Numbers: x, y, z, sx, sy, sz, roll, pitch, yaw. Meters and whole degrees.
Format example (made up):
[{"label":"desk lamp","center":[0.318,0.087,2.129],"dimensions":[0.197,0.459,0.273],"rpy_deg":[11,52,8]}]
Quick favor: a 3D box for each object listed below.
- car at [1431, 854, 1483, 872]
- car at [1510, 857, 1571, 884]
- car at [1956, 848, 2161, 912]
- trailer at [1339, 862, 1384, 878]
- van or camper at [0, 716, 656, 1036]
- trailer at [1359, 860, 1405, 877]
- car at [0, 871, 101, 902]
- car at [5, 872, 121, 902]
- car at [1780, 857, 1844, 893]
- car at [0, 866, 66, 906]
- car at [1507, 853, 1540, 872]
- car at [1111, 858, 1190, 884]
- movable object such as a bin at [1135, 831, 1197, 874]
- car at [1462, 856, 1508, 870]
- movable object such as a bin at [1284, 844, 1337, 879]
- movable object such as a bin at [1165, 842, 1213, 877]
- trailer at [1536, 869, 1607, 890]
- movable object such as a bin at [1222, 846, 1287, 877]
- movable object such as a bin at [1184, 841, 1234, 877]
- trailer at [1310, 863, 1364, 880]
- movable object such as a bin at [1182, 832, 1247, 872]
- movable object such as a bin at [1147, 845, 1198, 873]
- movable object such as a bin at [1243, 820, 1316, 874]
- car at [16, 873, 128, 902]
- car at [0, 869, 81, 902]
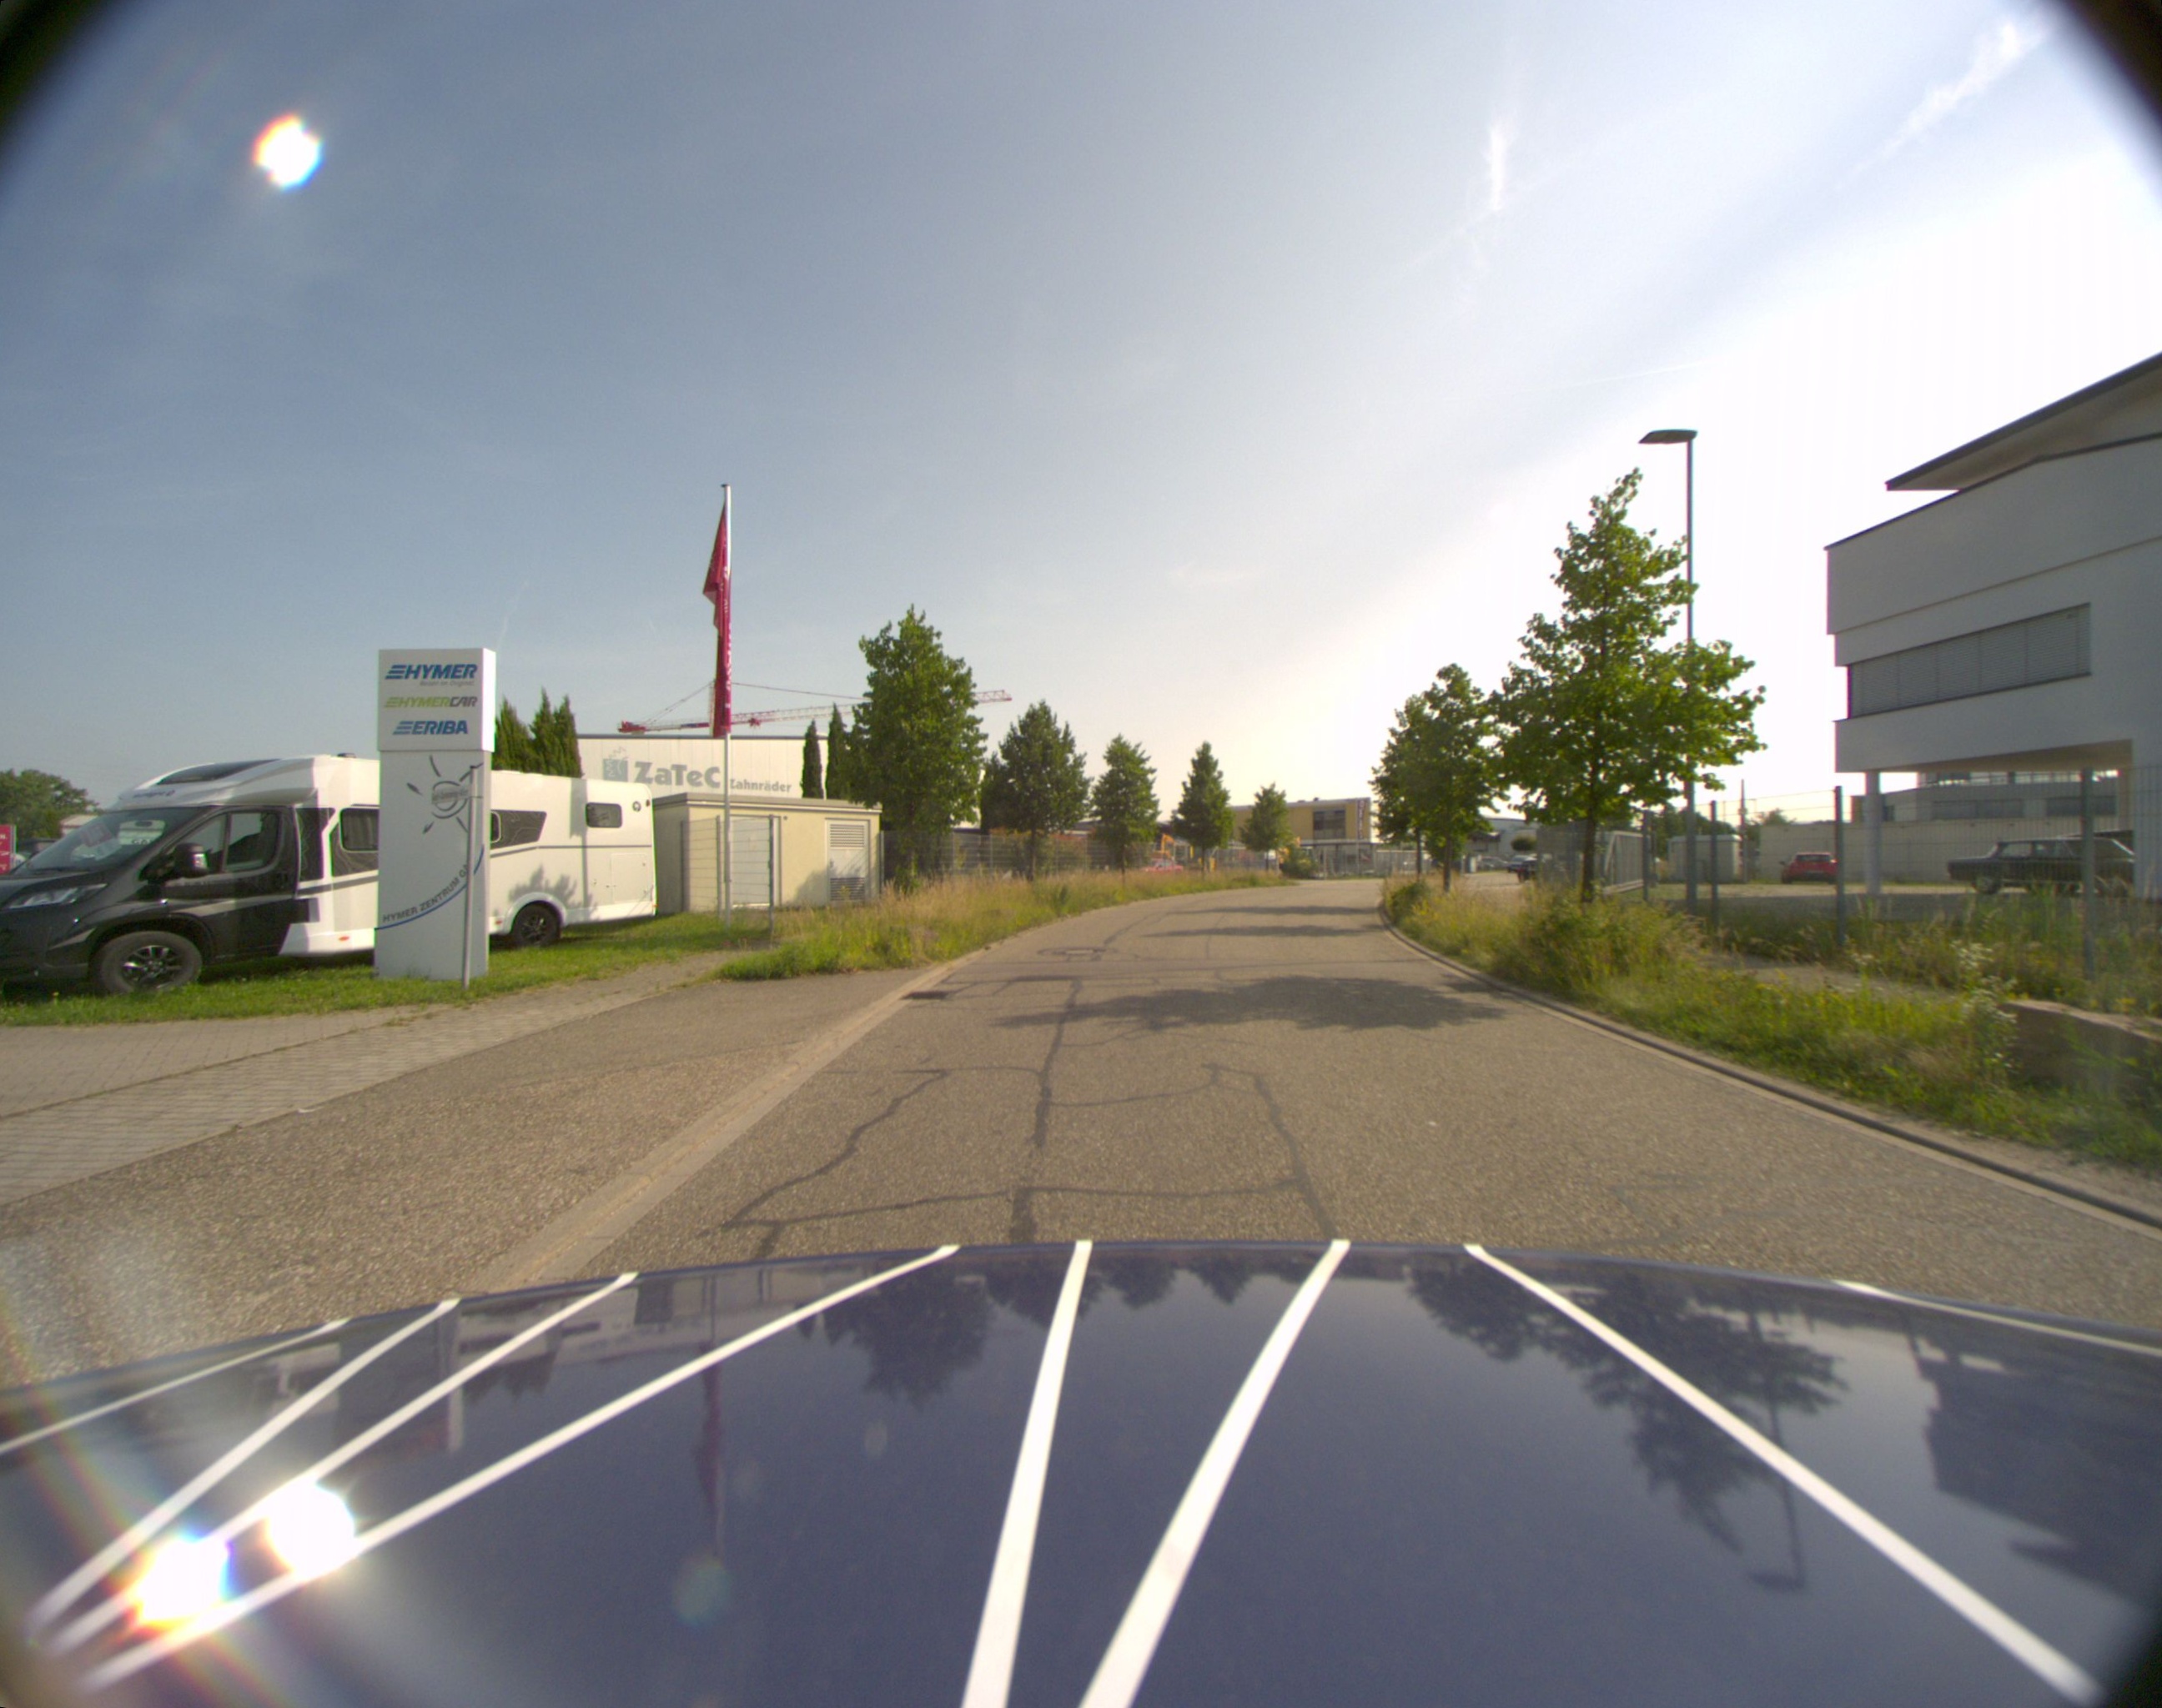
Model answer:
[{"label":"car","center":[36.995,0.924,74.828],"dimensions":[4.226,1.727,1.903],"rpy_deg":[-1,0,38]},{"label":"car","center":[27.292,0.955,45.097],"dimensions":[4.441,1.458,1.995],"rpy_deg":[-1,-2,-44]},{"label":"car","center":[24.462,0.570,18.607],"dimensions":[1.562,1.407,3.921],"rpy_deg":[-1,0,0]},{"label":"trailer","center":[23.020,1.248,62.240],"dimensions":[1.945,1.236,4.303],"rpy_deg":[0,0,44]},{"label":"van or camper","center":[-9.802,0.159,10.534],"dimensions":[2.352,2.831,7.349],"rpy_deg":[-1,1,14]},{"label":"trailer","center":[26.078,1.214,65.832],"dimensions":[4.573,1.303,1.994],"rpy_deg":[-1,0,-44]},{"label":"car","center":[-59.306,1.855,43.321],"dimensions":[3.954,1.657,1.538],"rpy_deg":[-1,-2,-41]},{"label":"car","center":[-61.350,1.982,45.898],"dimensions":[3.954,1.657,1.538],"rpy_deg":[-1,-2,-41]},{"label":"car","center":[32.532,0.942,33.910],"dimensions":[1.771,1.516,4.314],"rpy_deg":[-1,-1,40]},{"label":"car","center":[-55.161,1.665,38.649],"dimensions":[3.954,1.995,1.538],"rpy_deg":[-1,-2,-41]},{"label":"car","center":[43.387,0.846,74.504],"dimensions":[1.826,1.710,4.257],"rpy_deg":[-1,0,44]},{"label":"car","center":[3.942,0.896,42.305],"dimensions":[1.881,1.350,4.784],"rpy_deg":[-1,0,42]},{"label":"movable object such as a bin","center":[7.933,-0.108,70.548],"dimensions":[5.730,3.851,2.685],"rpy_deg":[0,0,-44]},{"label":"car","center":[43.249,1.009,81.310],"dimensions":[3.989,1.362,1.794],"rpy_deg":[-3,-2,41]},{"label":"movable object such as a bin","center":[18.618,0.559,61.469],"dimensions":[5.171,2.736,1.887],"rpy_deg":[0,0,-44]},{"label":"movable object such as a bin","center":[9.722,0.460,68.269],"dimensions":[4.382,3.014,1.993],"rpy_deg":[0,0,-44]},{"label":"trailer","center":[31.946,1.645,49.390],"dimensions":[7.172,1.225,2.131],"rpy_deg":[0,-2,-43]},{"label":"movable object such as a bin","center":[14.668,0.614,64.252],"dimensions":[5.350,2.477,2.923],"rpy_deg":[0,0,-44]},{"label":"movable object such as a bin","center":[11.252,0.419,66.506],"dimensions":[4.501,3.014,1.993],"rpy_deg":[0,0,-44]},{"label":"trailer","center":[19.795,1.301,58.589],"dimensions":[2.127,1.236,4.806],"rpy_deg":[0,0,44]},{"label":"movable object such as a bin","center":[13.584,-0.161,76.722],"dimensions":[2.919,3.906,7.223],"rpy_deg":[1,0,44]},{"label":"movable object such as a bin","center":[9.215,0.521,76.335],"dimensions":[2.054,2.753,5.703],"rpy_deg":[1,0,44]},{"label":"movable object such as a bin","center":[18.725,-0.564,71.435],"dimensions":[3.317,4.778,7.690],"rpy_deg":[0,0,44]},{"label":"car","center":[-62.857,2.066,47.434],"dimensions":[3.954,1.657,1.538],"rpy_deg":[-1,-2,-41]},{"label":"car","center":[-57.028,1.720,40.708],"dimensions":[3.954,1.657,1.538],"rpy_deg":[-1,-2,-41]}]
